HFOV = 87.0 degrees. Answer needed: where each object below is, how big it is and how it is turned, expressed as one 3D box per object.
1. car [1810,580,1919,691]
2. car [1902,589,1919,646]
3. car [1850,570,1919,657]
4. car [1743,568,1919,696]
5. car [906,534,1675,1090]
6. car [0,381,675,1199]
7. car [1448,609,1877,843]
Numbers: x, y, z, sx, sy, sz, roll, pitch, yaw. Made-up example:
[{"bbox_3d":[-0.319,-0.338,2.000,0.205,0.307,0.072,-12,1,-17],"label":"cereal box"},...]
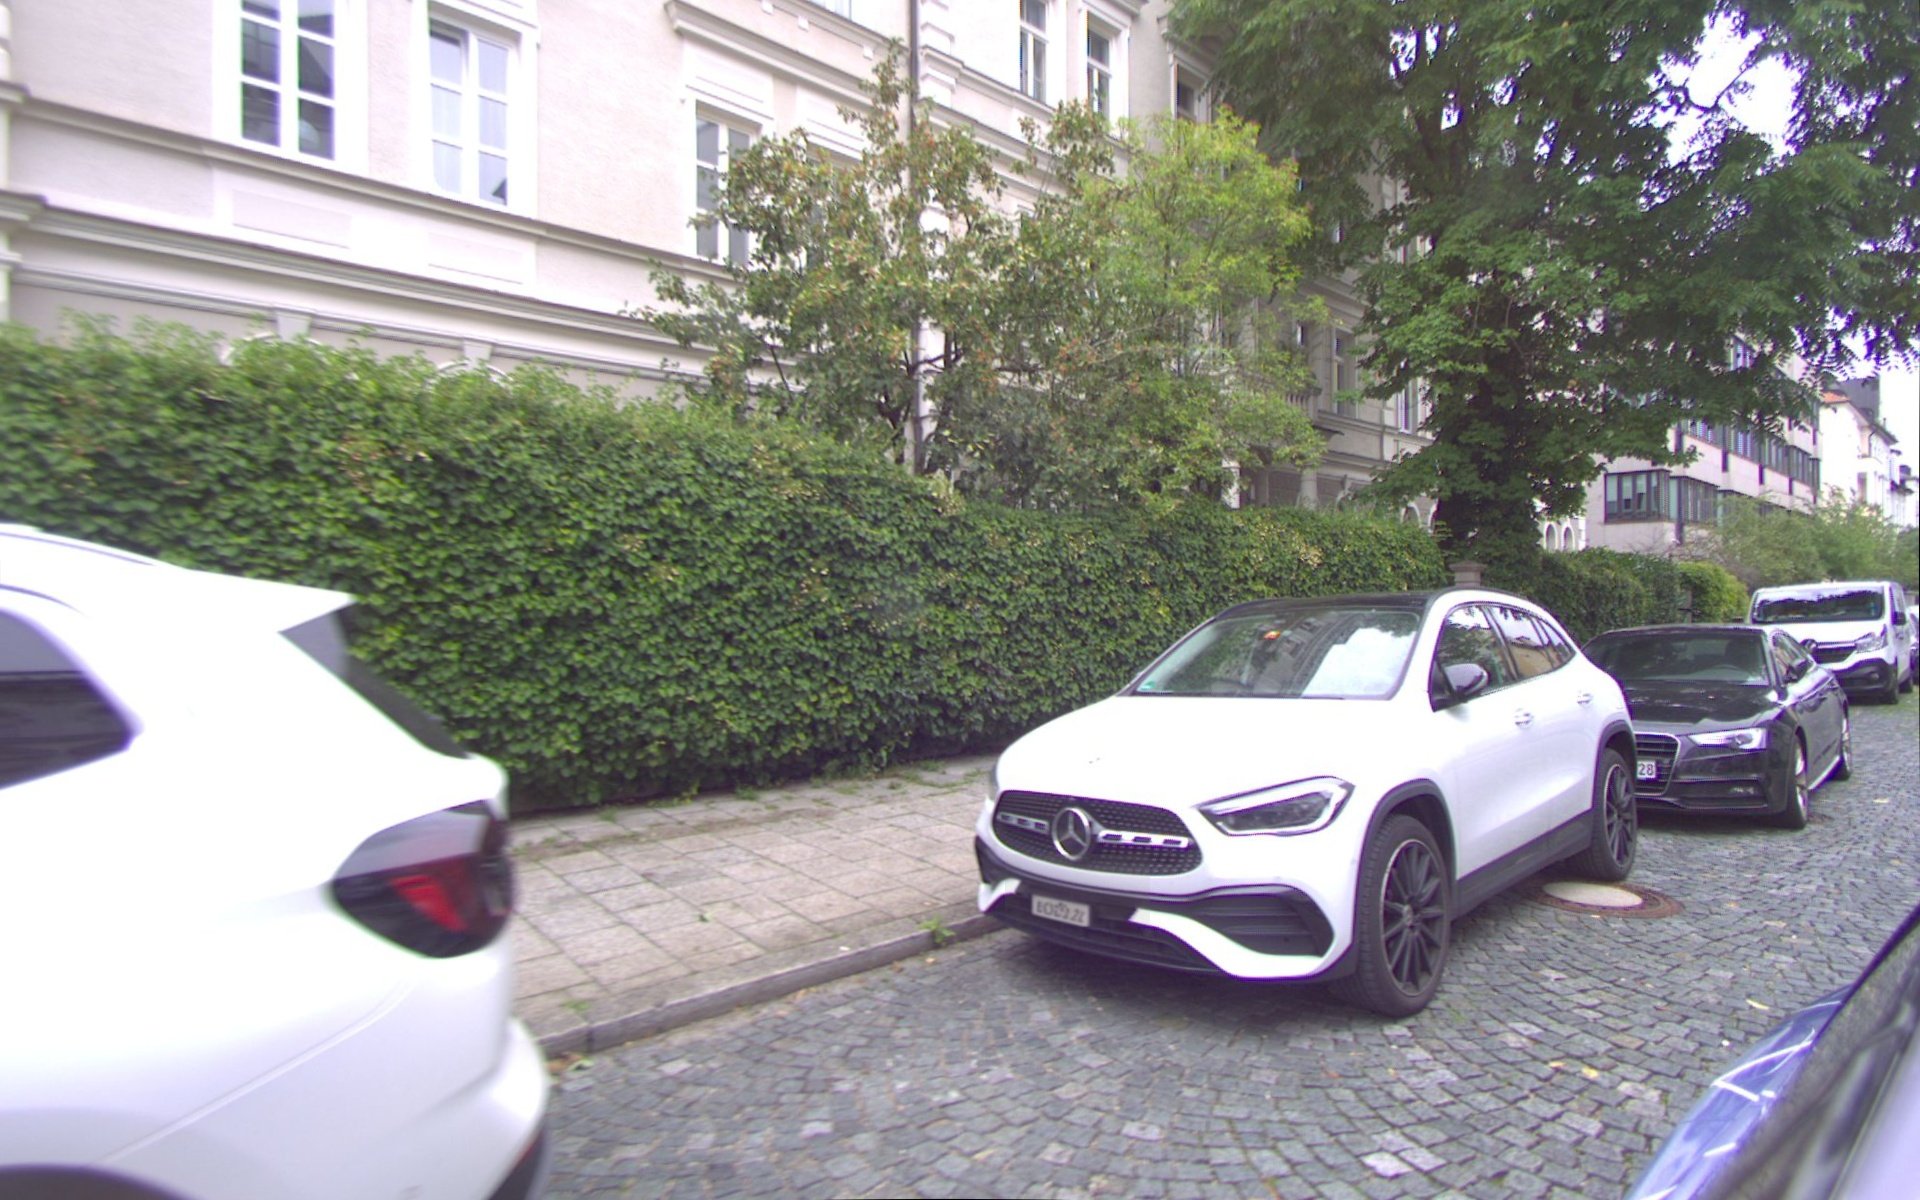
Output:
[{"bbox_3d":[18.887,0.639,20.481,3.931,2.039,1.996,-1,0,-41],"label":"car"},{"bbox_3d":[31.129,0.501,31.668,3.931,1.737,1.996,-1,0,-41],"label":"car"},{"bbox_3d":[23.827,0.288,25.184,3.931,2.039,1.996,-1,0,-41],"label":"car"},{"bbox_3d":[14.741,0.498,16.879,4.728,1.843,1.815,-1,-4,-43],"label":"car"},{"bbox_3d":[1.982,0.599,5.100,4.396,1.620,1.749,-1,0,-43],"label":"car"},{"bbox_3d":[-2.814,0.634,0.920,4.554,1.707,1.923,-1,1,-41],"label":"car"},{"bbox_3d":[5.954,0.765,8.308,4.727,1.314,1.921,0,0,-43],"label":"car"}]
